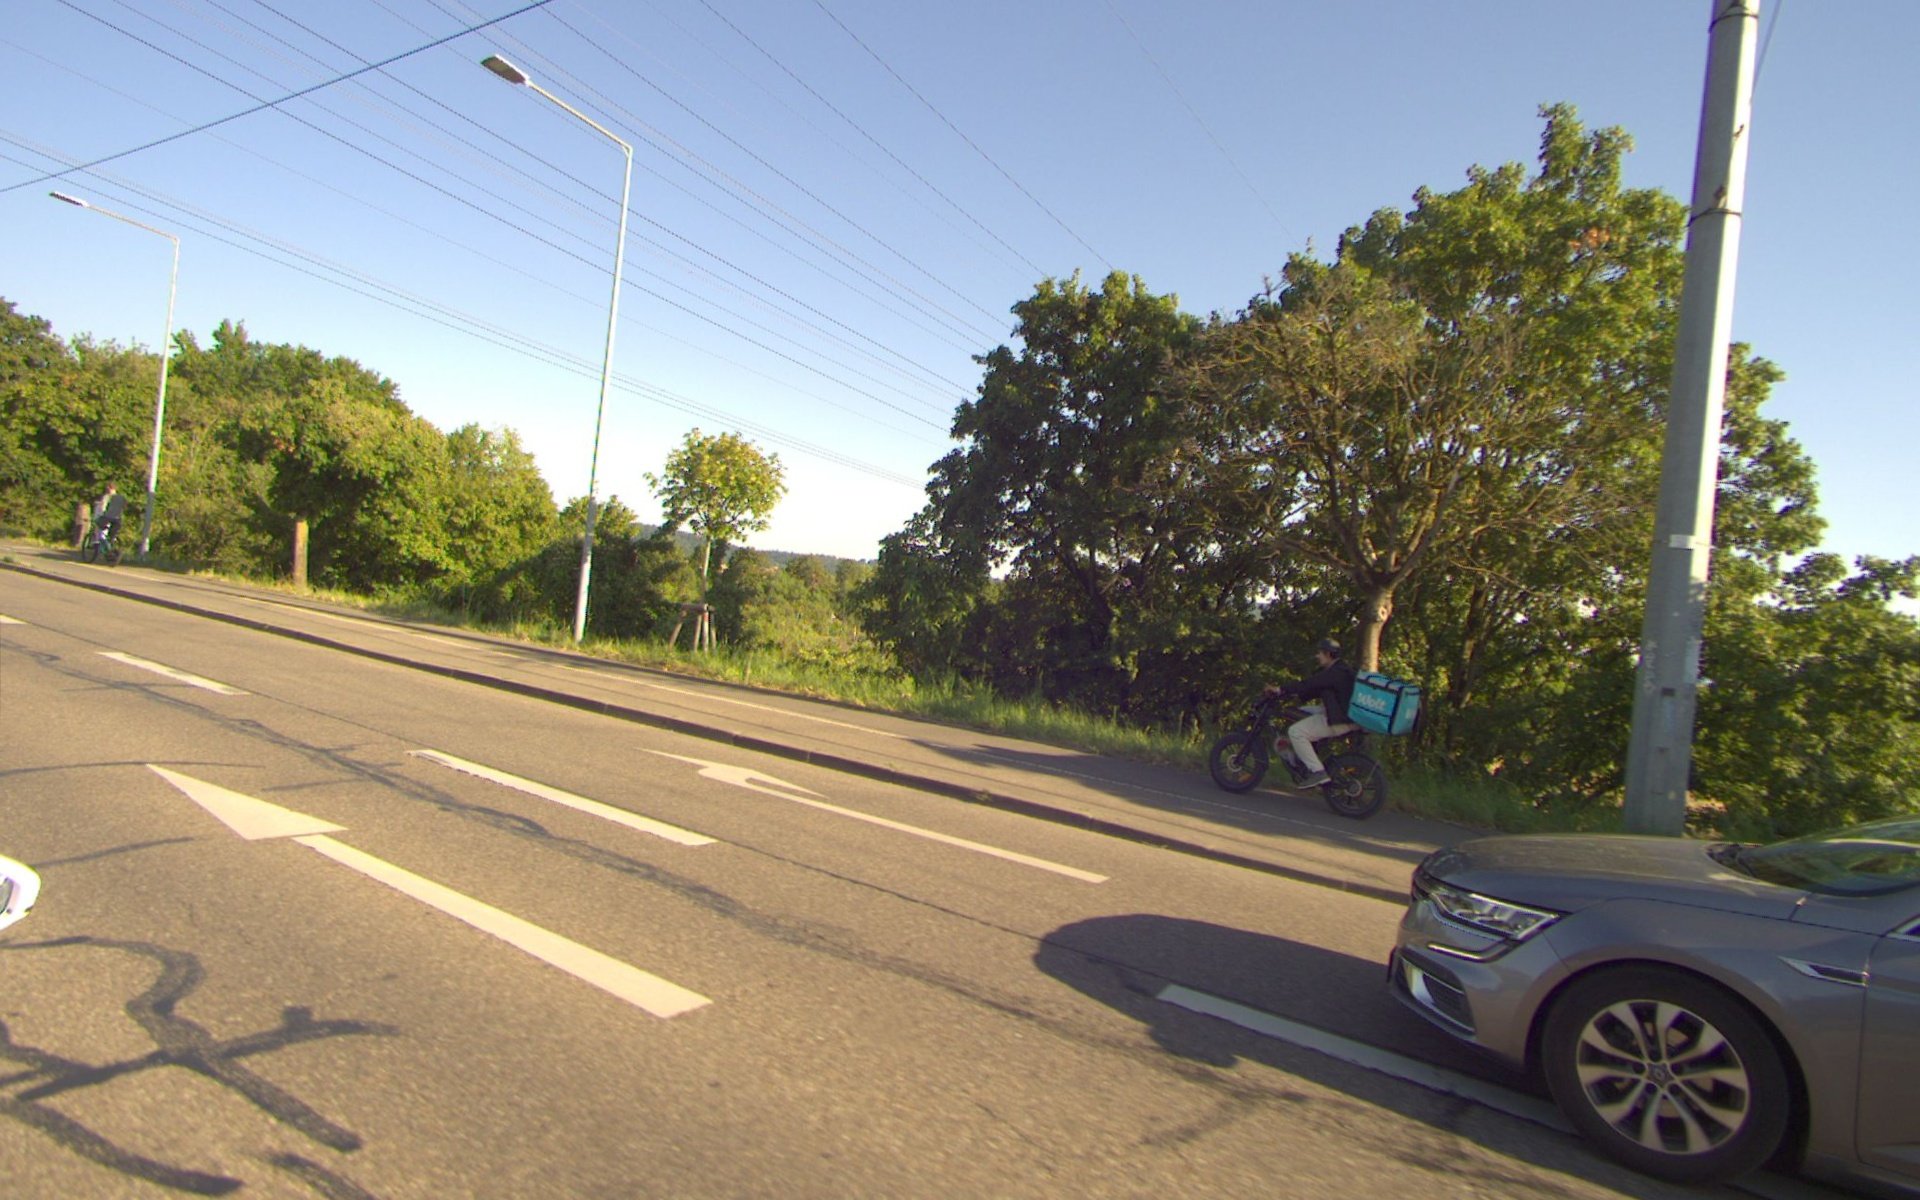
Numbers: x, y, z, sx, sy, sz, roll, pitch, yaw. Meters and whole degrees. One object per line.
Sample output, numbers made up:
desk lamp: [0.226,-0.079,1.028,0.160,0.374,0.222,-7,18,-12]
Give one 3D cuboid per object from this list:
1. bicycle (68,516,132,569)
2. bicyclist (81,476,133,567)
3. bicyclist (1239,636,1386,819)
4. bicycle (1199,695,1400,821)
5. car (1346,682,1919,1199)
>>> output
bicycle: [-20.386,-1.379,23.837,1.939,1.072,0.528,6,-2,33]
bicyclist: [-20.101,-1.845,23.703,0.717,2.040,0.528,6,-2,33]
bicyclist: [3.261,1.137,9.318,1.043,1.491,0.626,6,3,32]
bicycle: [3.151,1.432,9.393,1.608,0.845,0.626,6,3,32]
car: [3.927,1.312,3.281,4.585,1.460,1.879,6,-2,34]
